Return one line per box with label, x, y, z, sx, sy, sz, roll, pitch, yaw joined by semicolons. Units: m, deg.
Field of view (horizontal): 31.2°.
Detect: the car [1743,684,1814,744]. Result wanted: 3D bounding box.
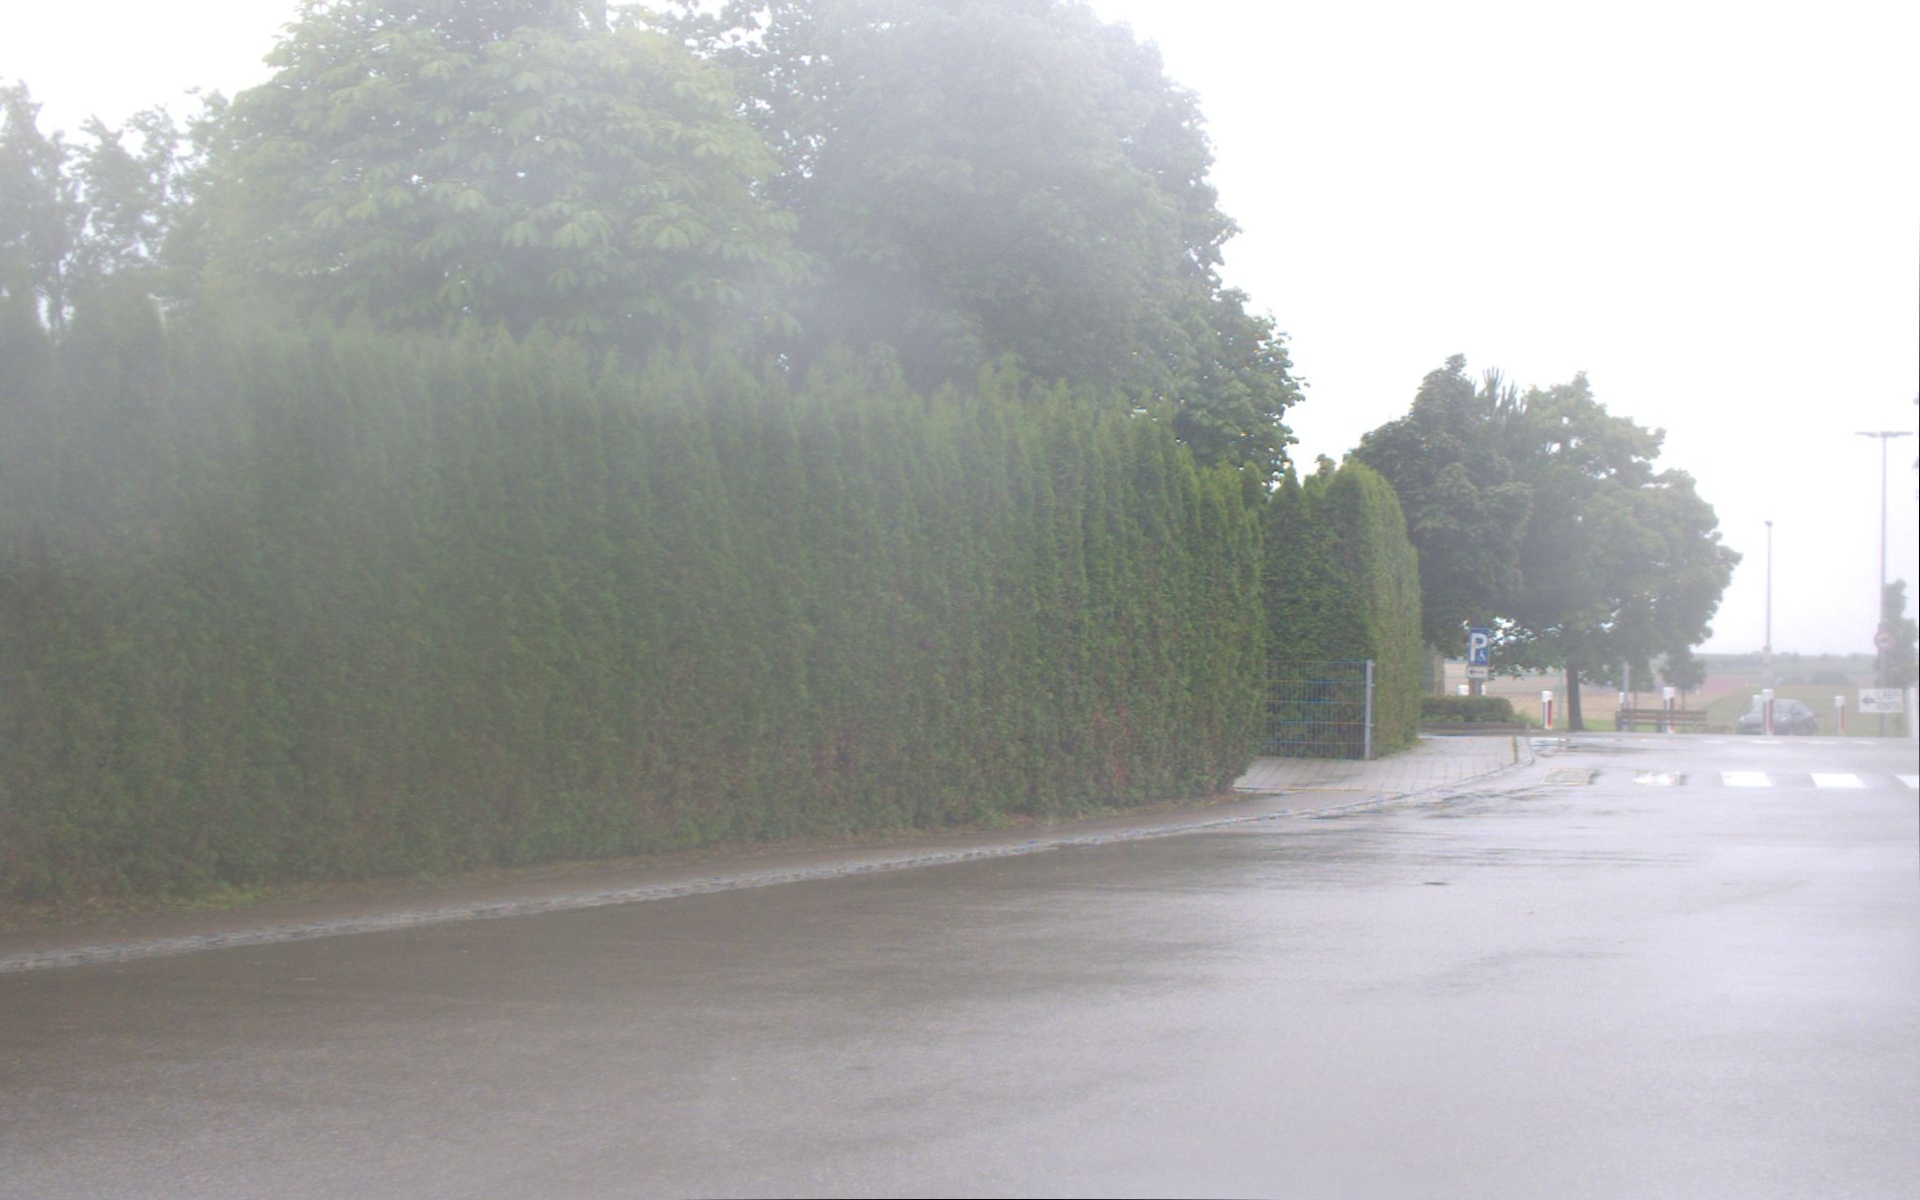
car;29.384;4.101;123.309;1.706;2.007;3.994;2;-2;24
